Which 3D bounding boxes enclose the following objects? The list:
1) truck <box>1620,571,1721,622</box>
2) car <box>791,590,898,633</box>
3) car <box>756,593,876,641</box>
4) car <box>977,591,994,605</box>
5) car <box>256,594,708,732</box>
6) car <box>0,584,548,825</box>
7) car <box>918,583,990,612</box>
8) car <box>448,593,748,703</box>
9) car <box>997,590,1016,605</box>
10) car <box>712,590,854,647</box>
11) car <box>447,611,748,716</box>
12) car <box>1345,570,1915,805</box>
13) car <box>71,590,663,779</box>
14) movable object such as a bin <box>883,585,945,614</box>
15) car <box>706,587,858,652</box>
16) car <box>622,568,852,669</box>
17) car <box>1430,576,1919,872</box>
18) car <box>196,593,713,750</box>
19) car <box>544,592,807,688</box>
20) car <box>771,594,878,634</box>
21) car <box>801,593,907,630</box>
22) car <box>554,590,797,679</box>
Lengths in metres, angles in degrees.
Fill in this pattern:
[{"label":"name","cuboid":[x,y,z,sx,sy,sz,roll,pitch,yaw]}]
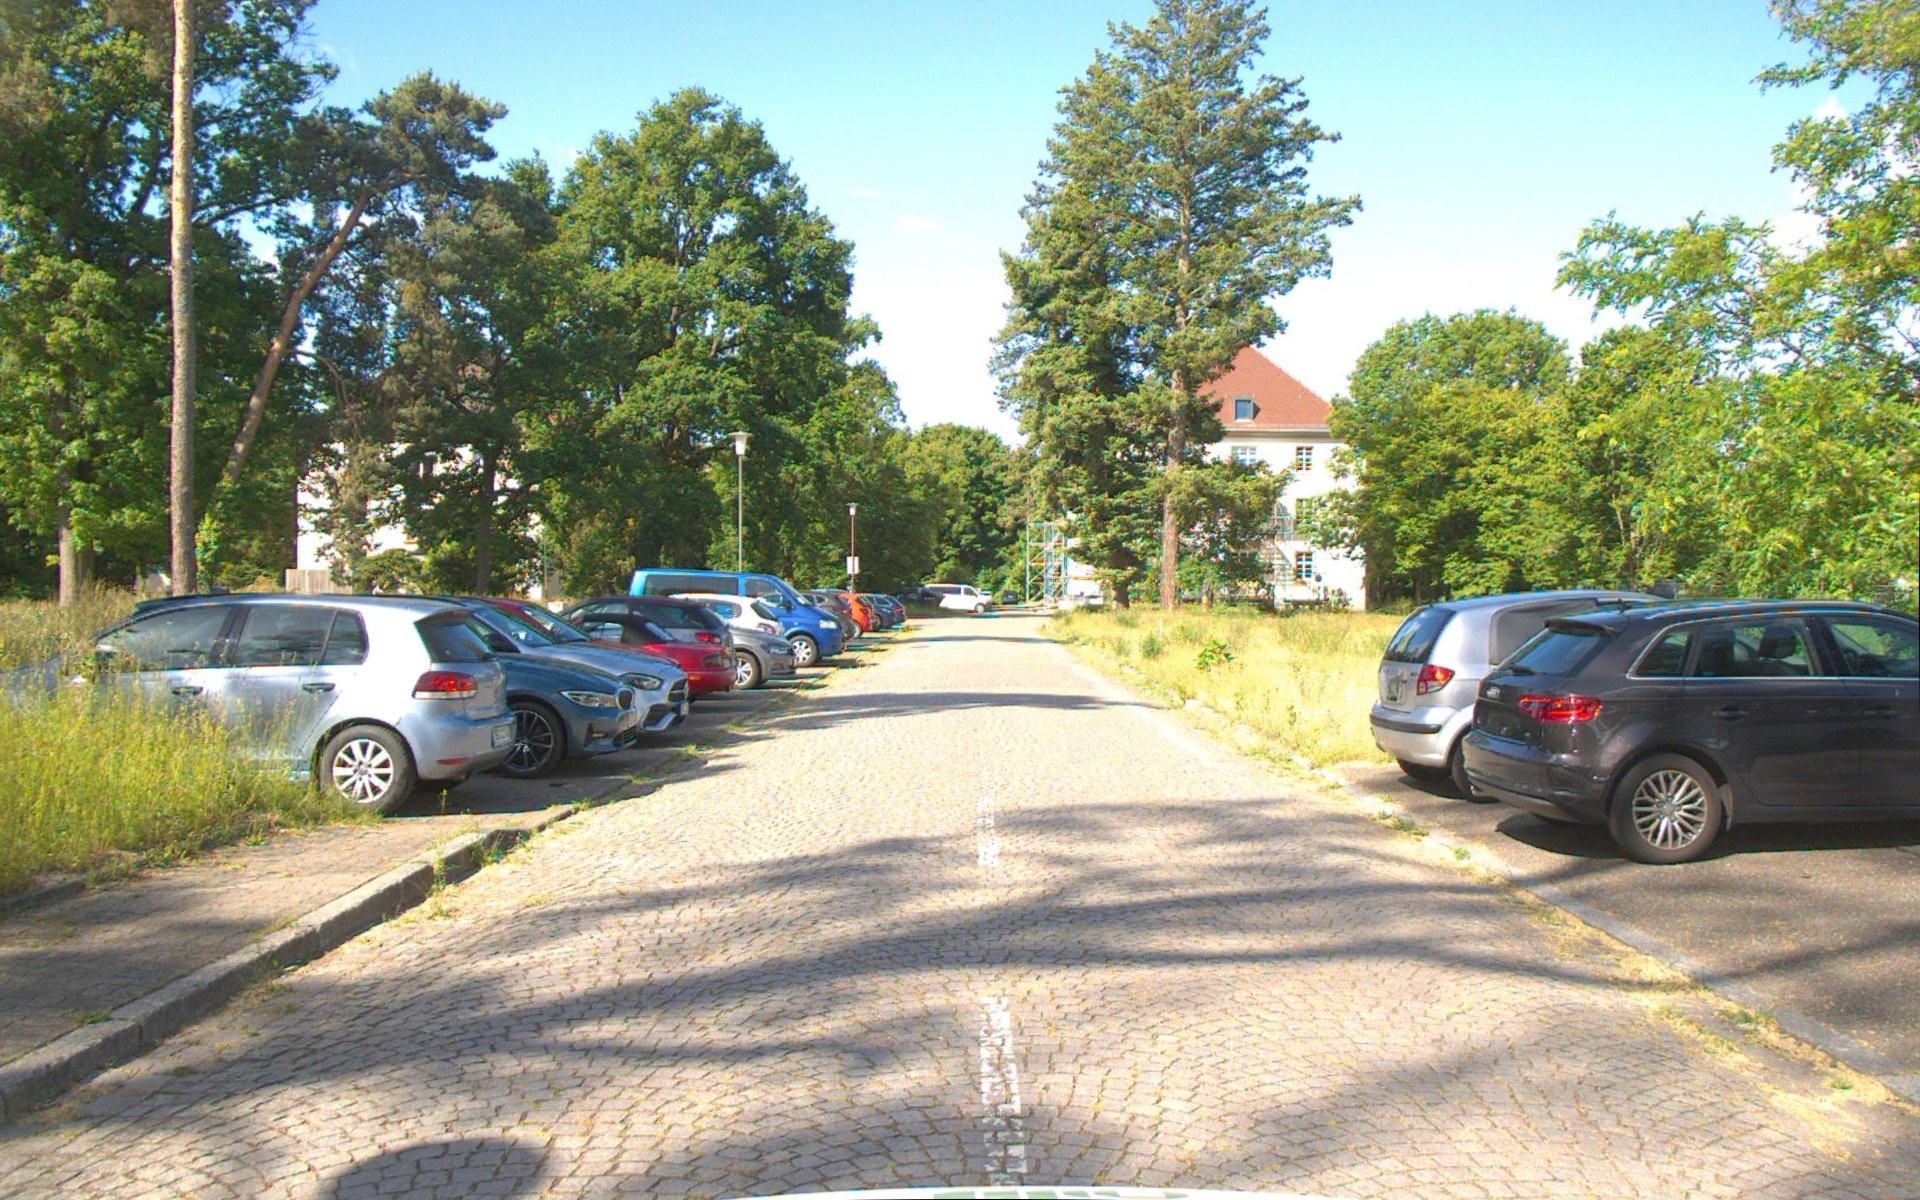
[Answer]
[{"label":"truck","cuboid":[36.712,-0.198,85.708,2.187,2.466,6.885,1,0,0]},{"label":"car","cuboid":[-4.529,0.439,65.249,4.050,1.607,1.884,1,1,0]},{"label":"car","cuboid":[-4.752,0.550,54.948,3.843,1.486,1.842,1,1,-1]},{"label":"car","cuboid":[2.840,-0.224,184.801,1.775,1.607,4.134,-1,0,0]},{"label":"car","cuboid":[-5.553,0.708,19.659,4.764,1.445,1.938,1,0,1]},{"label":"car","cuboid":[-5.203,0.691,11.974,3.945,1.509,1.948,1,1,-2]},{"label":"car","cuboid":[-0.427,-0.203,118.799,5.127,2.051,1.950,0,0,0]},{"label":"car","cuboid":[-5.313,0.697,24.639,3.992,1.477,1.822,1,-1,1]},{"label":"car","cuboid":[5.198,-0.292,185.092,1.930,1.697,4.086,-1,0,0]},{"label":"car","cuboid":[-5.023,0.515,47.371,3.843,1.474,1.866,2,1,-1]},{"label":"car","cuboid":[-4.736,0.815,21.968,3.555,1.256,1.760,1,-1,1]},{"label":"car","cuboid":[5.066,0.629,12.853,3.665,1.502,1.751,-3,0,-1]},{"label":"car","cuboid":[-5.028,0.707,14.594,4.490,1.477,1.983,1,0,-3]},{"label":"movable object such as a bin","cuboid":[-2.930,-0.035,105.711,3.491,1.775,2.025,0,0,19]},{"label":"car","cuboid":[-4.756,0.512,44.638,3.873,1.595,1.974,2,1,-1]},{"label":"car","cuboid":[-4.746,0.384,35.685,4.621,2.002,2.005,2,0,0]},{"label":"car","cuboid":[5.125,0.654,10.108,3.923,1.466,1.843,-3,1,-2]},{"label":"car","cuboid":[-5.144,0.718,17.314,4.764,1.446,1.938,1,-1,1]},{"label":"car","cuboid":[-4.661,0.640,27.523,3.992,1.450,1.923,1,0,1]},{"label":"car","cuboid":[-5.118,0.524,62.855,3.842,1.458,1.842,1,1,1]},{"label":"car","cuboid":[-4.444,0.487,69.931,4.268,1.470,1.922,1,1,3]},{"label":"car","cuboid":[-5.168,0.613,30.407,4.110,1.501,1.824,1,0,0]}]
